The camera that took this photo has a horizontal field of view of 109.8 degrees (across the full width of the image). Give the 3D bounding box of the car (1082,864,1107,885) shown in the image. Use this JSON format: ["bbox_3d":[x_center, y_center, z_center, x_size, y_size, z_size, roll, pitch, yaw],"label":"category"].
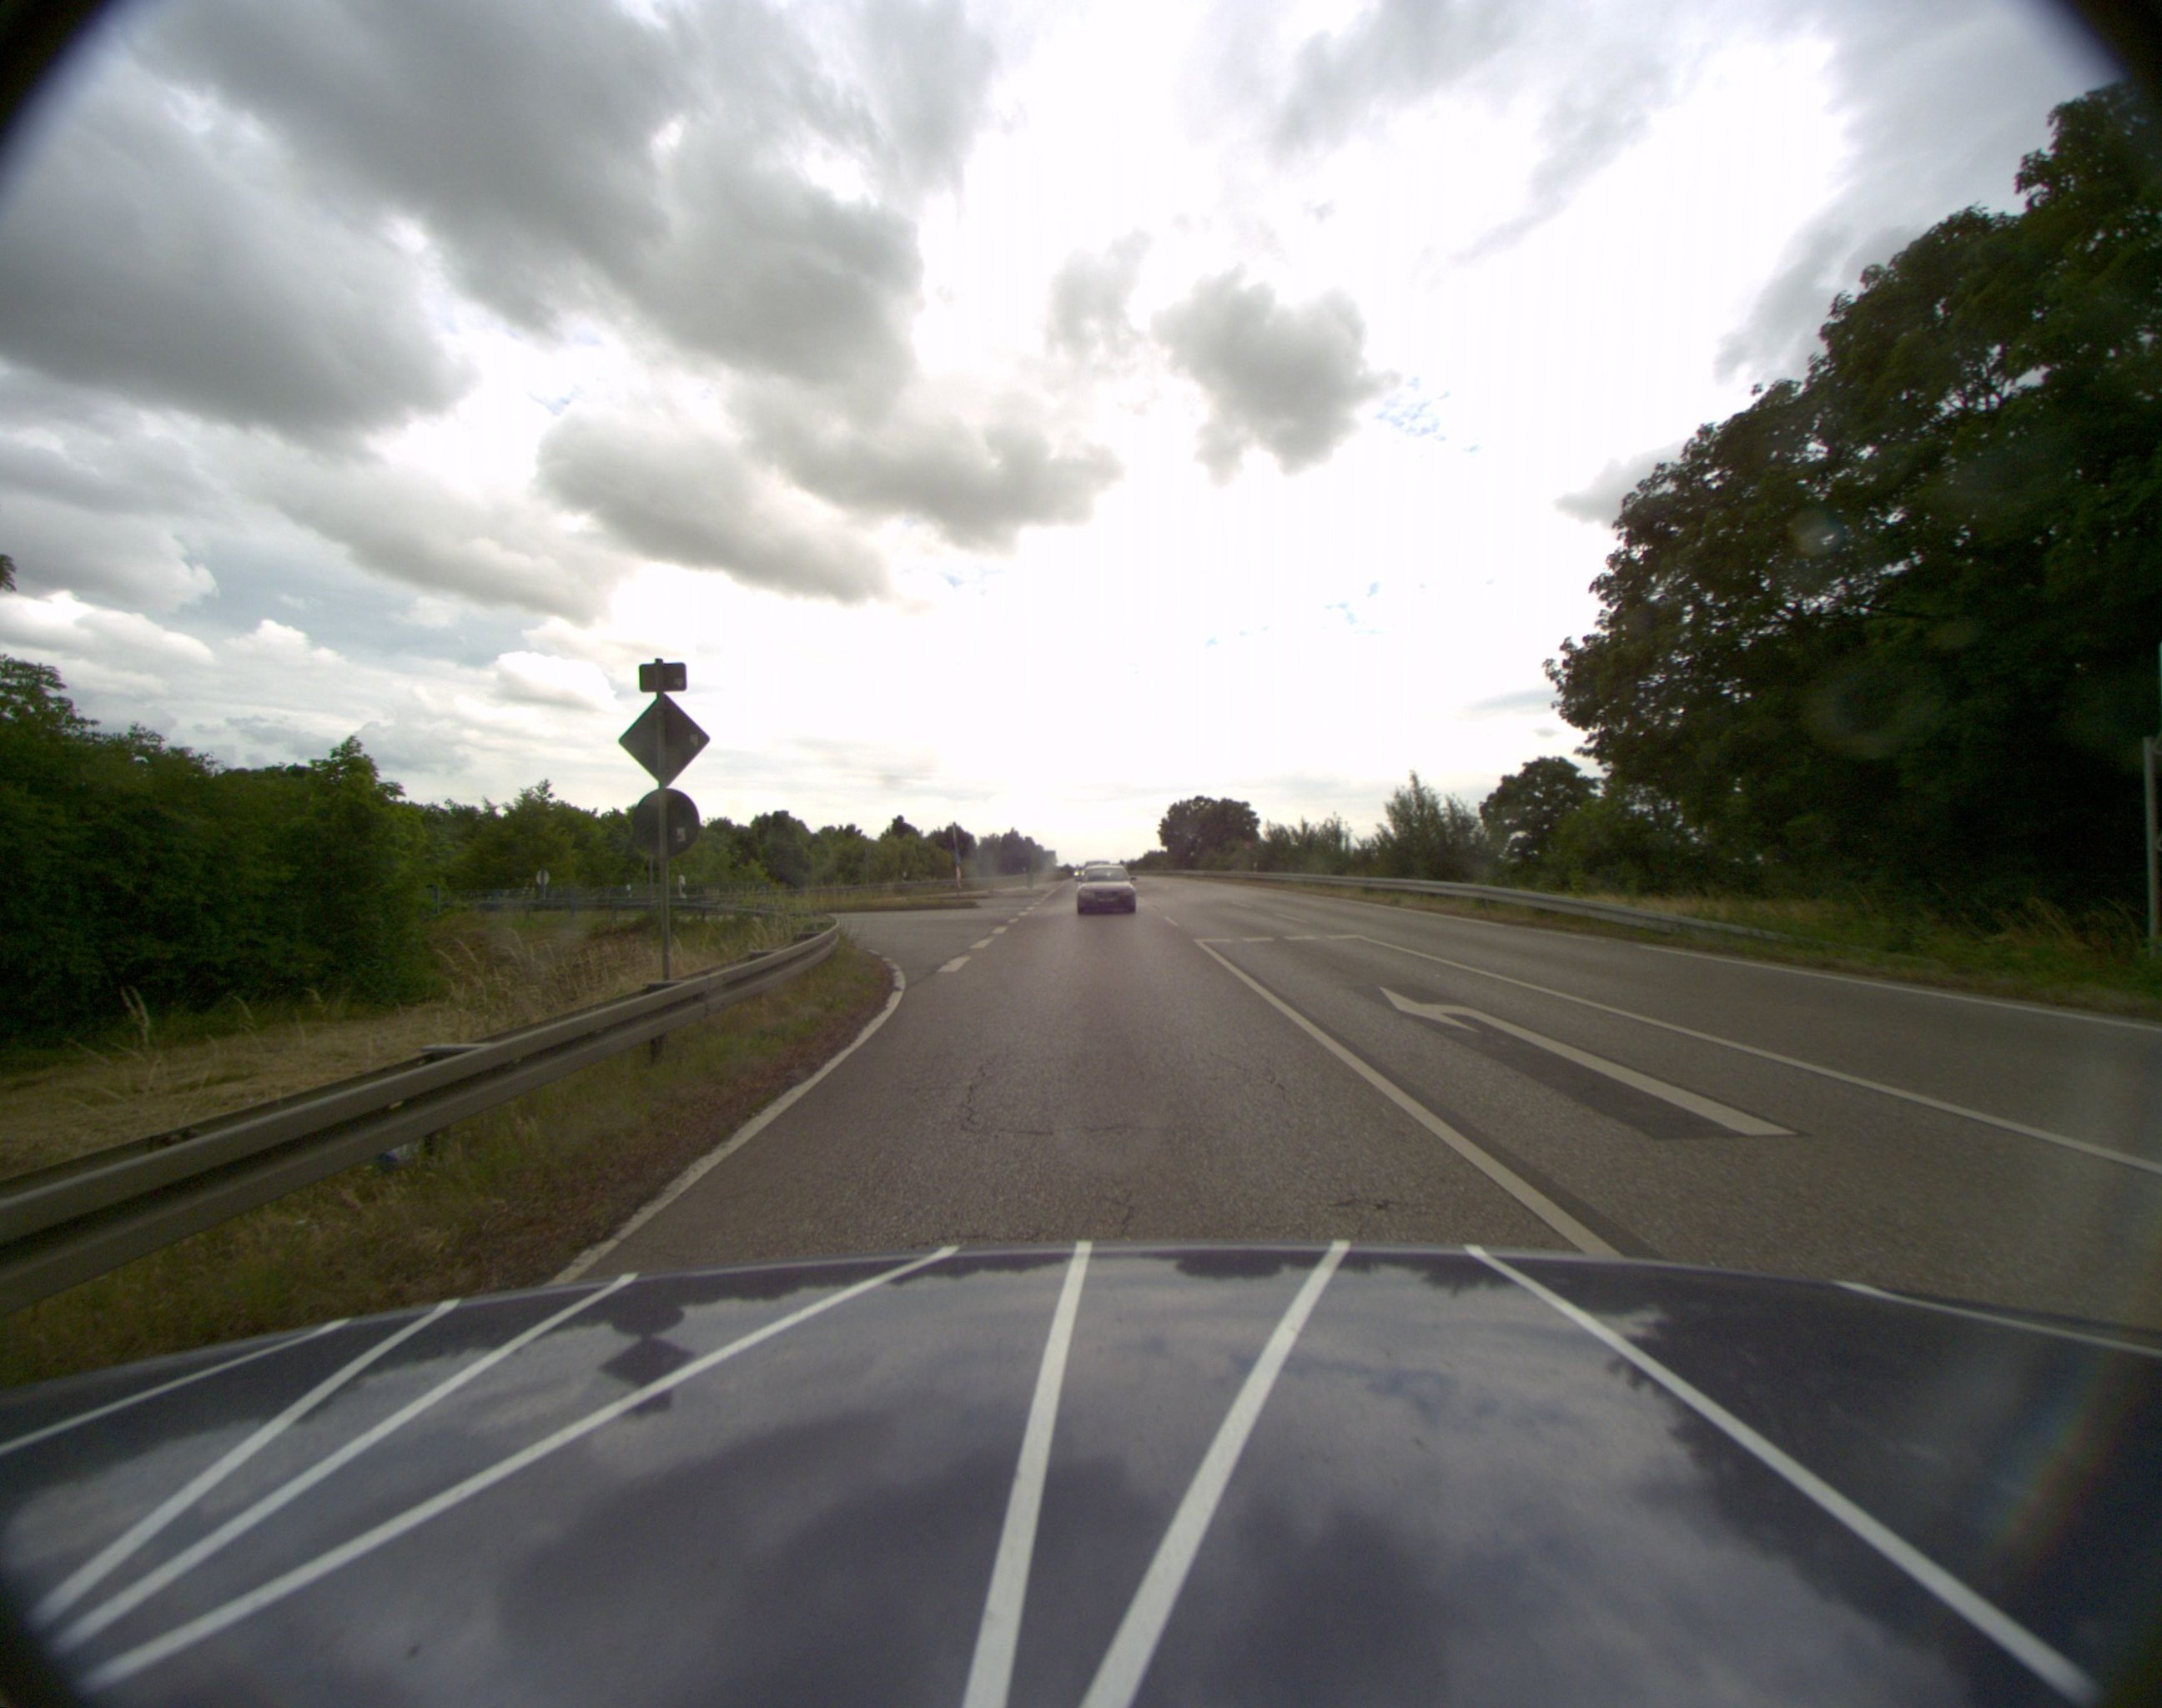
[{"bbox_3d":[0.988,1.547,58.775,1.835,1.537,4.035,-1,-1,0],"label":"car"}]

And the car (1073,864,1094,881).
[{"bbox_3d":[0.240,1.734,70.931,1.835,1.537,4.035,-1,-1,0],"label":"car"}]

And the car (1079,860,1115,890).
[{"bbox_3d":[0.865,1.145,41.883,1.835,1.537,4.035,-1,-1,0],"label":"car"}]

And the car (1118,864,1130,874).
[{"bbox_3d":[7.166,2.526,127.211,1.715,1.513,4.000,-1,0,0],"label":"car"}]

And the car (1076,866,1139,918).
[{"bbox_3d":[0.781,1.138,23.899,1.784,1.441,4.035,-1,-1,0],"label":"car"}]
